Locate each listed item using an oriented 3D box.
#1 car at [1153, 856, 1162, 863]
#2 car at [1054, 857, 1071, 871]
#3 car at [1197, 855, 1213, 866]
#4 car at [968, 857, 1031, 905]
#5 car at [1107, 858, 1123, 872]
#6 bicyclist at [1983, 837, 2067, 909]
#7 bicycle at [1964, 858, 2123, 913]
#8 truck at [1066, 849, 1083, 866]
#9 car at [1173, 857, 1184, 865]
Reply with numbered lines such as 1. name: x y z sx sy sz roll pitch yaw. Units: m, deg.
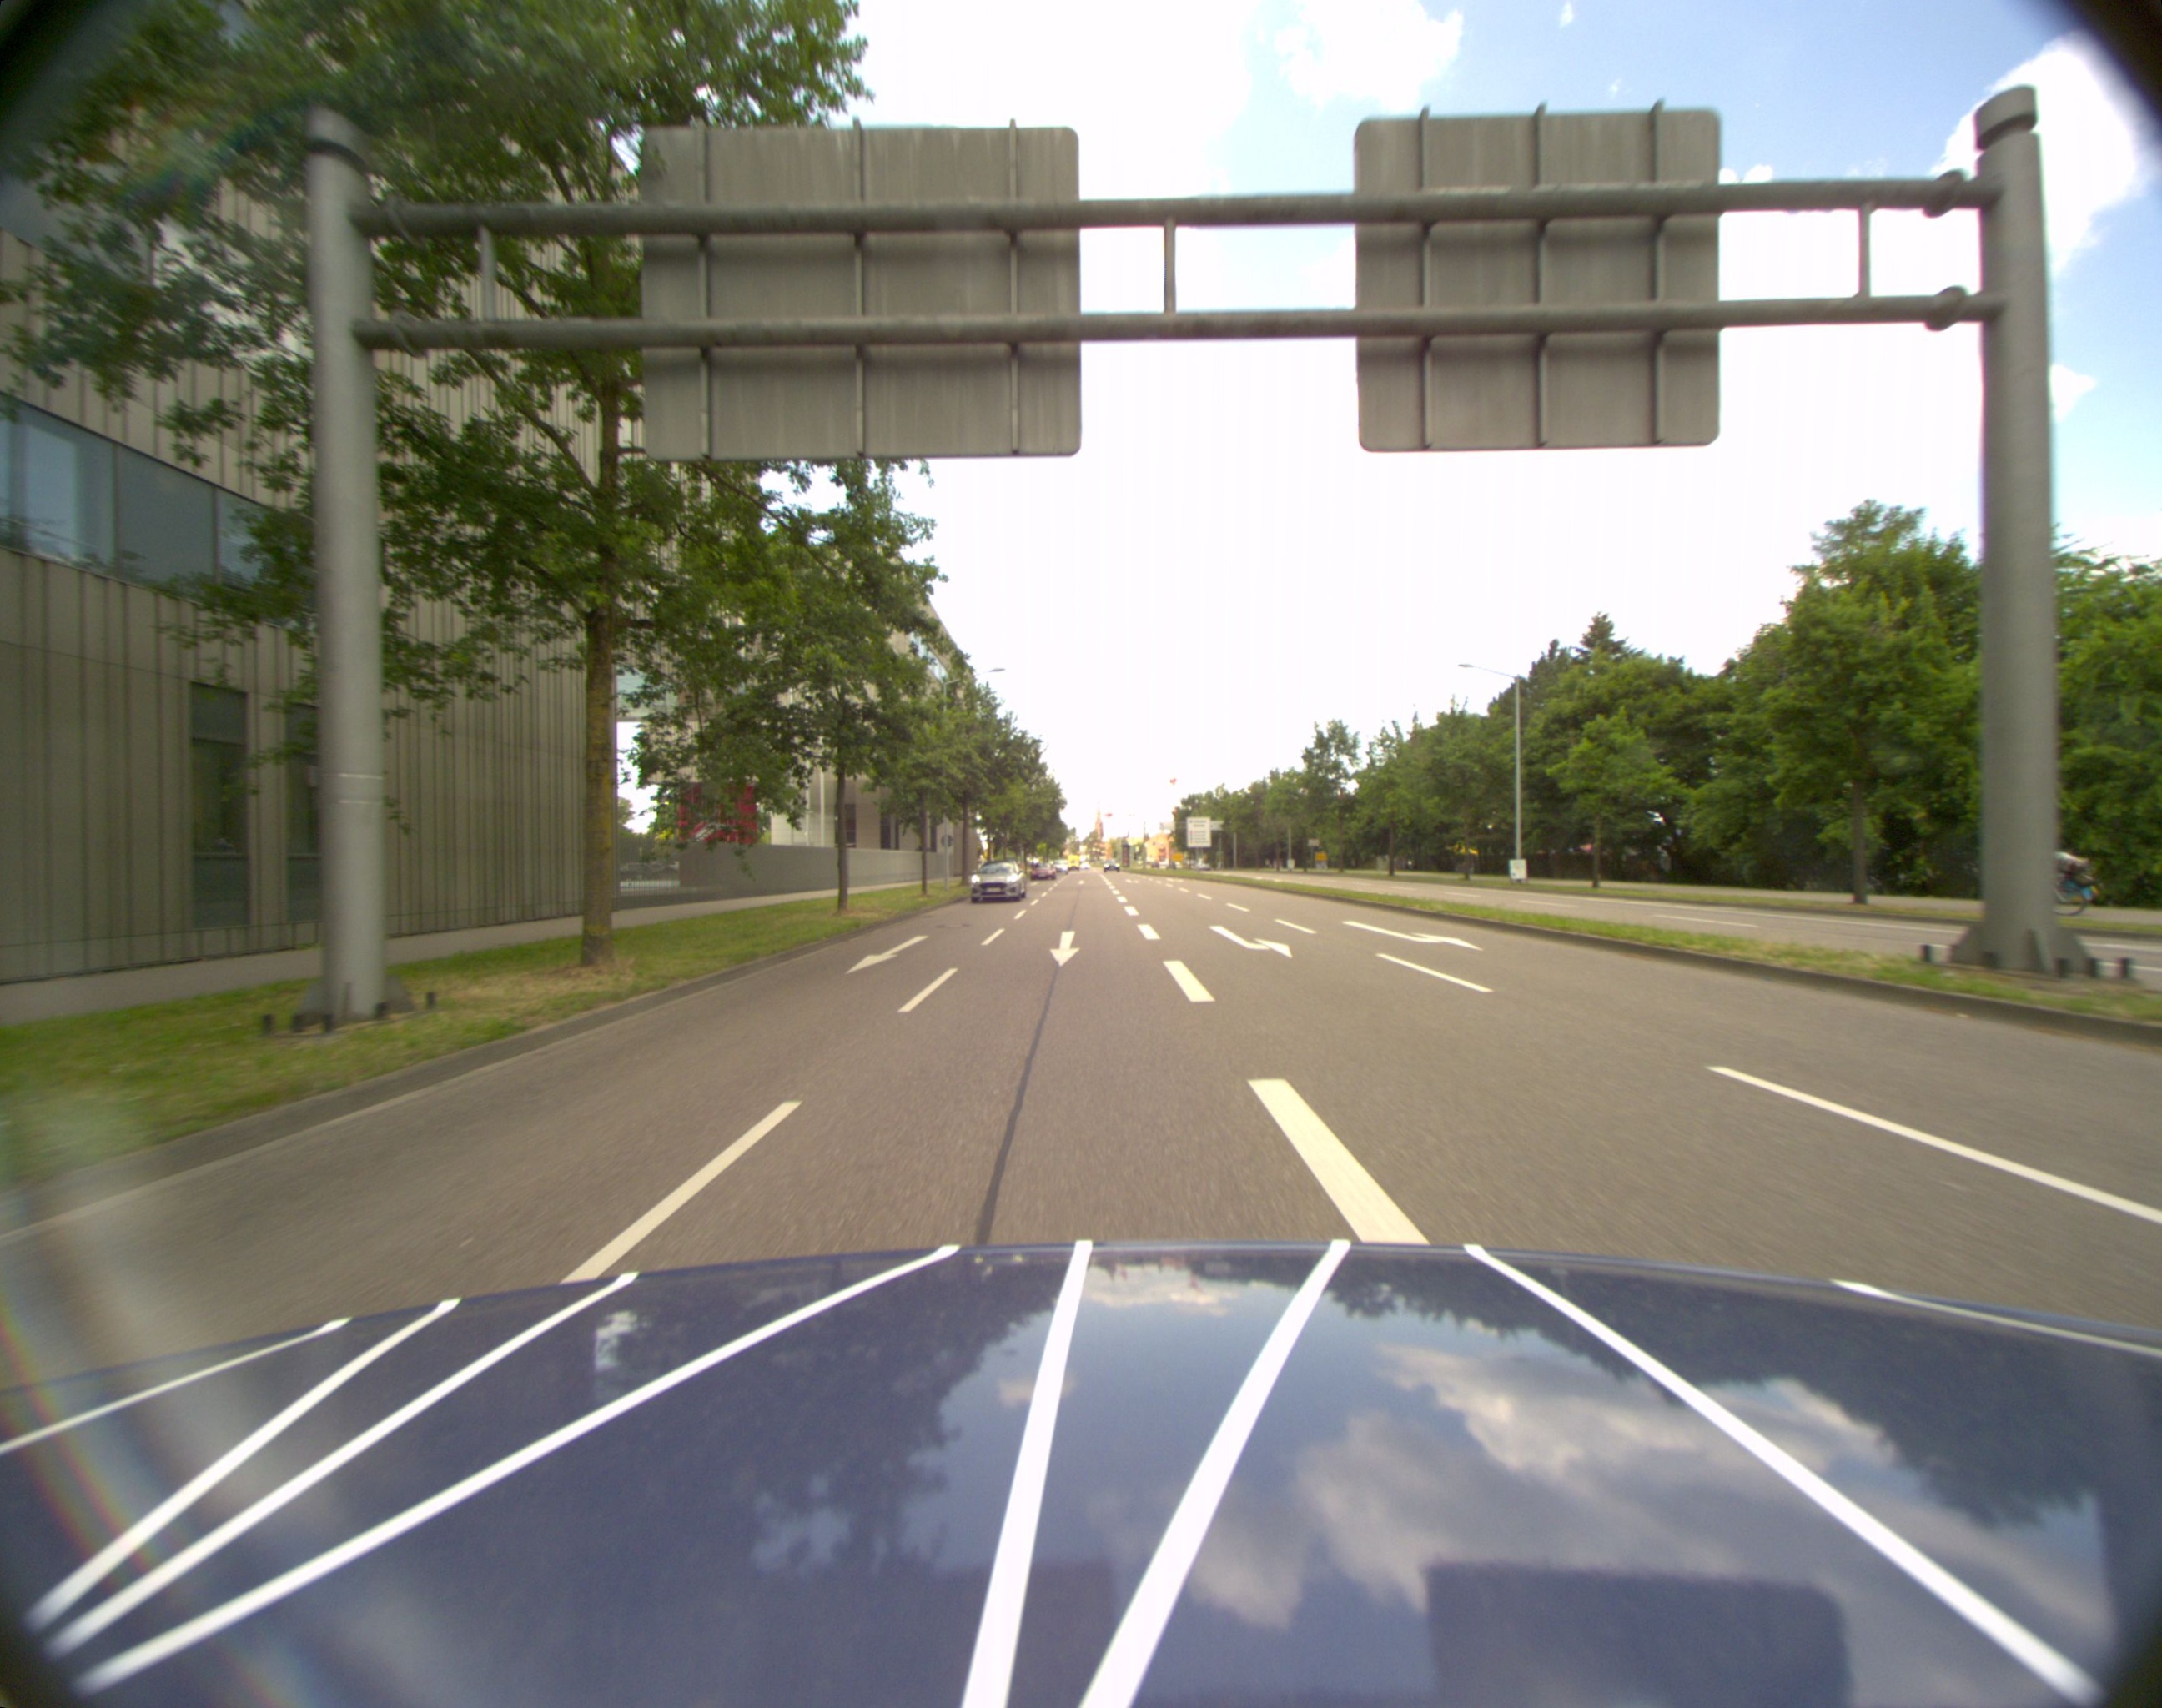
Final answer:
1. car: 17.566 1.190 173.812 1.713 1.487 4.072 -1 0 1
2. car: -2.004 1.047 82.638 1.713 1.487 3.650 -1 0 1
3. car: 17.743 0.900 108.942 1.713 1.487 3.698 -1 0 1
4. car: -3.012 0.966 28.776 1.823 1.565 3.954 -3 0 1
5. car: 3.939 1.275 89.490 1.782 1.487 3.598 -1 0 1
6. bicyclist: 22.094 0.433 17.800 0.740 1.648 0.980 -1 0 -4
7. bicycle: 22.107 0.688 17.549 0.752 1.155 2.257 -1 0 -3
8. truck: -1.198 0.568 141.572 3.066 3.095 7.935 -1 0 1
9. car: 19.369 1.387 151.100 1.713 1.487 4.072 -1 0 1
